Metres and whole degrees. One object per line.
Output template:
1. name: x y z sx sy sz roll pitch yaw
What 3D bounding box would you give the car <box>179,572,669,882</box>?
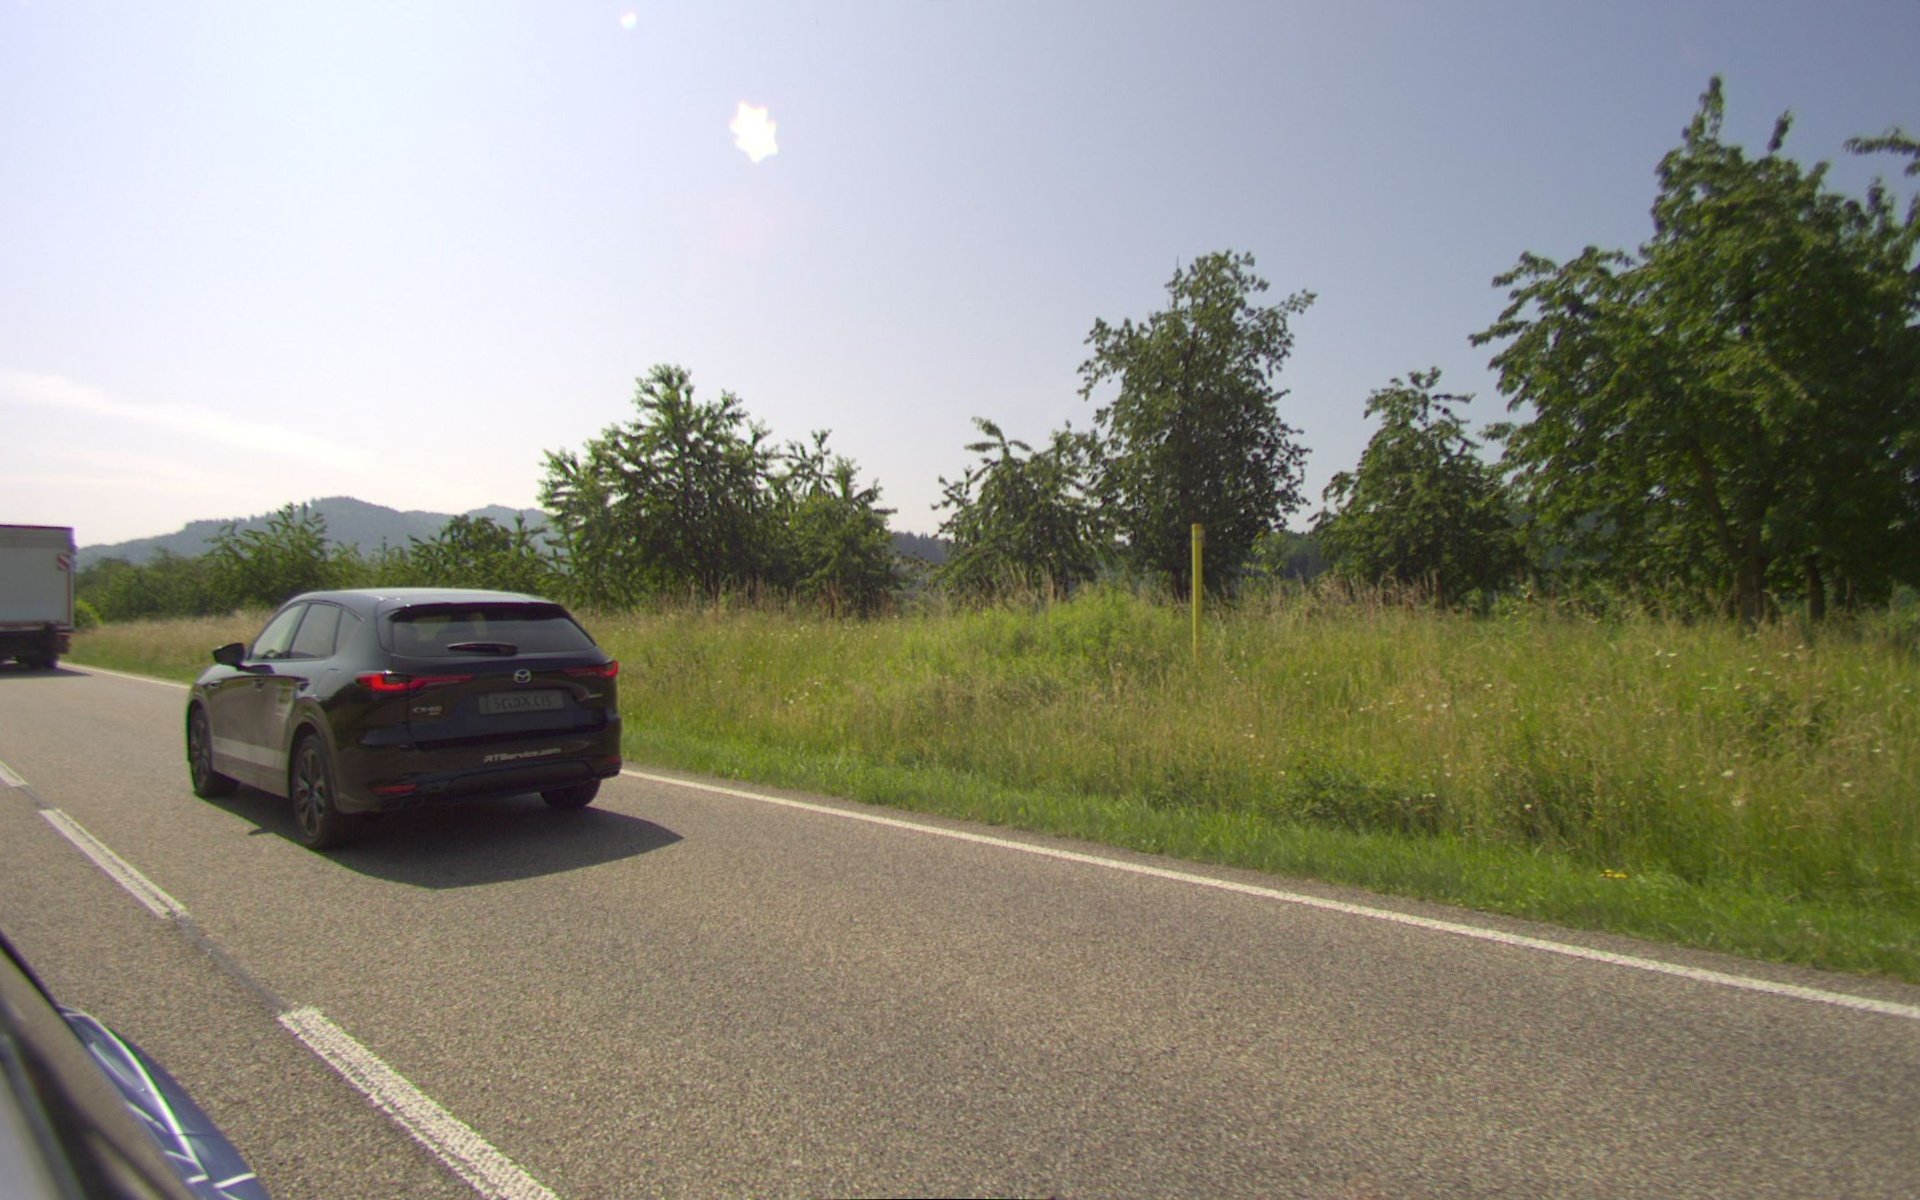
1. car: -4.237 0.723 7.660 4.408 1.690 1.817 -1 -1 41

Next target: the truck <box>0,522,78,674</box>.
1. truck: -28.083 0.004 29.172 10.203 3.868 2.637 -1 -1 41
